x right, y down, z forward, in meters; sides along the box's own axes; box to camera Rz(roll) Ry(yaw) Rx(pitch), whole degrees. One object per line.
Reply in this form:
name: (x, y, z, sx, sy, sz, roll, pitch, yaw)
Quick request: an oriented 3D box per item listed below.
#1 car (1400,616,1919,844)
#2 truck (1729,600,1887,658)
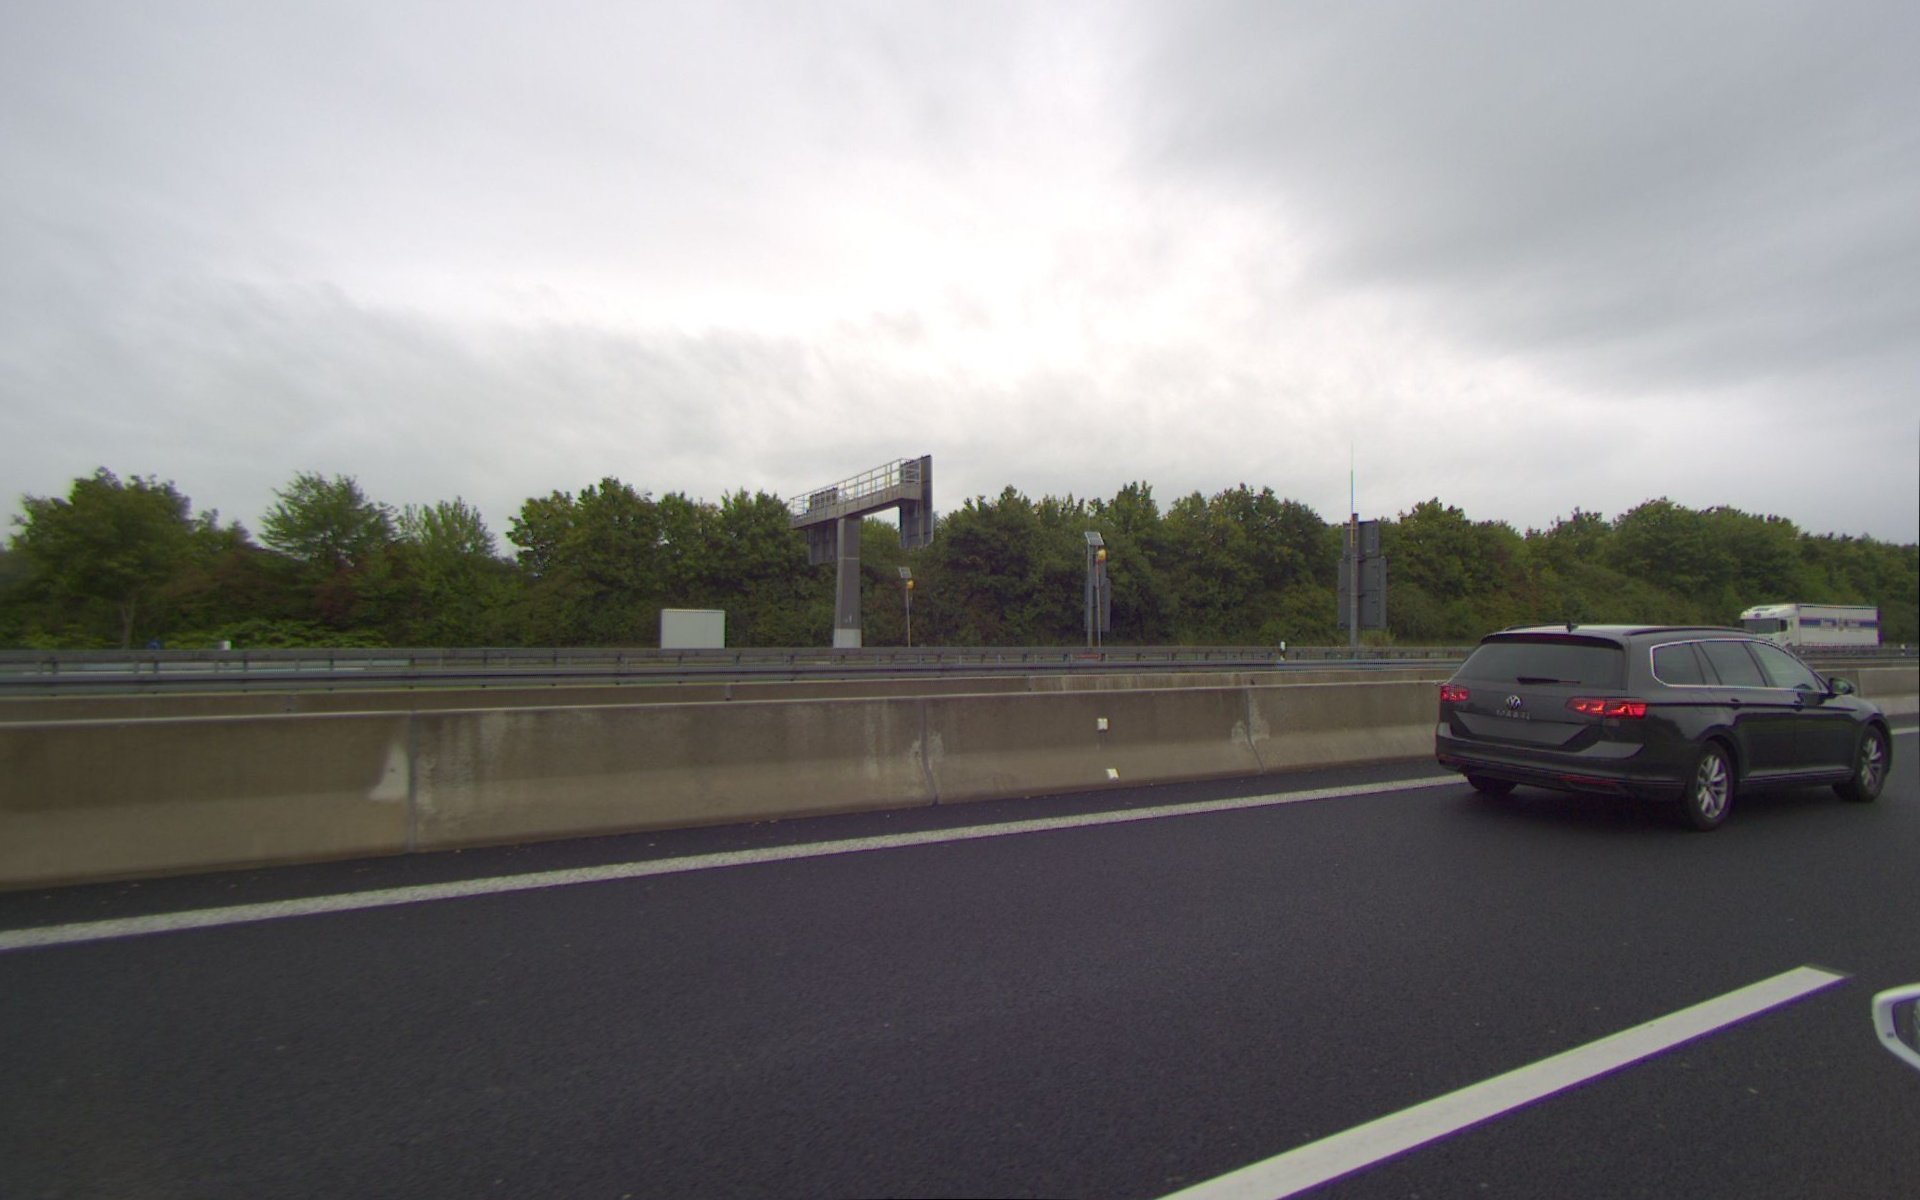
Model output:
car: (6.110, 0.926, 8.574, 4.743, 1.478, 1.780, 1, 0, -28)
truck: (61.595, 2.151, 72.699, 16.929, 3.859, 3.164, 1, -2, -30)
